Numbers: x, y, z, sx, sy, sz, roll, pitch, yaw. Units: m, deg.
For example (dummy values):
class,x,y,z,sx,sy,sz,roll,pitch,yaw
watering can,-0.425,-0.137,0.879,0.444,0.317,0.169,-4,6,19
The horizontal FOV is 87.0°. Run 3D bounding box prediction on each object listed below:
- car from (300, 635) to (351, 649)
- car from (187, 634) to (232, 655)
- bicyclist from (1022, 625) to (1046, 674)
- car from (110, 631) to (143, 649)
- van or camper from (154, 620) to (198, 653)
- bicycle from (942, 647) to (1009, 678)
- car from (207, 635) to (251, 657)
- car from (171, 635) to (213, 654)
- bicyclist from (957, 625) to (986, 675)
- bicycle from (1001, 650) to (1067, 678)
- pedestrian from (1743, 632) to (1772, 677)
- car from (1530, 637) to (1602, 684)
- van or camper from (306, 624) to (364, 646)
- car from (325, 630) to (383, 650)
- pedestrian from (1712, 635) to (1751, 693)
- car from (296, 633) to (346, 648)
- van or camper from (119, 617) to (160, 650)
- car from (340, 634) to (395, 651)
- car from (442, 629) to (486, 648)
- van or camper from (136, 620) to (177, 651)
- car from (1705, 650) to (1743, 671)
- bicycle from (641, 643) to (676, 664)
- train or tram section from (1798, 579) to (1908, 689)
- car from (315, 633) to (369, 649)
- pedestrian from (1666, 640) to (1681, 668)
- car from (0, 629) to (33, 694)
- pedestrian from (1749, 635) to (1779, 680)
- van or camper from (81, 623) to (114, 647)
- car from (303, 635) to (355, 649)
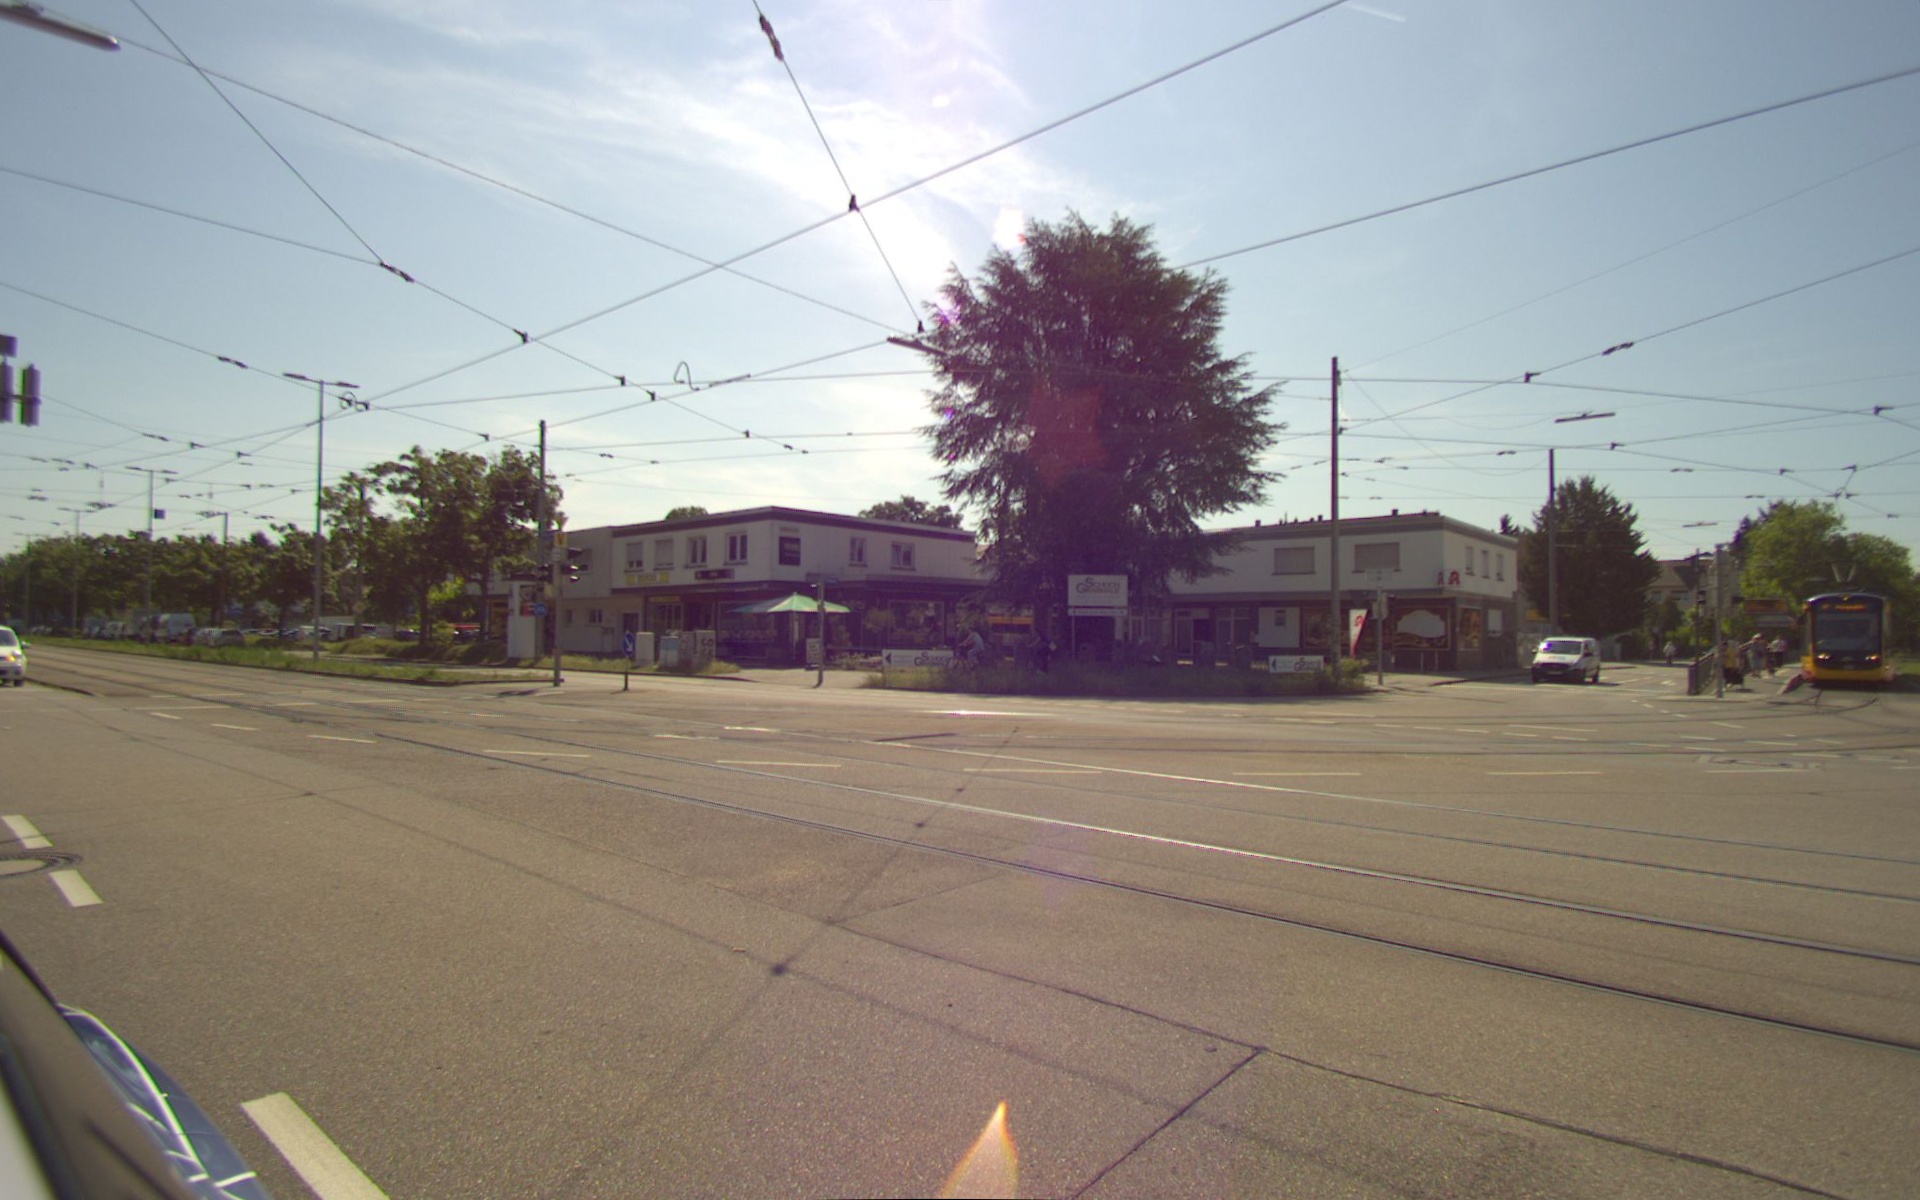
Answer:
class,x,y,z,sx,sy,sz,roll,pitch,yaw
car,-58.247,3.836,92.889,1.711,1.291,3.578,-2,-3,40
car,-57.773,3.440,77.878,4.283,1.572,1.868,-2,-3,42
bicyclist,2.451,1.626,33.369,0.755,1.587,0.631,0,-3,2
car,-83.073,4.015,100.899,4.230,1.748,1.868,-2,-3,42
van or camper,-65.807,3.072,84.898,4.838,2.652,2.013,-2,-3,42
bicycle,0.487,2.027,32.795,2.119,0.954,0.532,0,-3,19
car,-53.651,3.326,74.232,4.285,1.506,1.867,-2,-1,43
car,-62.009,3.605,81.701,4.230,1.506,1.868,-2,-3,42
bicyclist,0.381,1.625,32.906,0.760,1.570,0.627,0,-3,20
bicycle,2.442,2.092,33.305,2.111,0.897,0.574,0,-3,8
pedestrian,29.482,2.014,37.411,0.785,1.639,0.651,-2,-3,42
car,25.616,2.544,42.708,1.776,1.876,4.595,-2,-4,42
van or camper,-80.710,4.496,130.747,2.300,2.751,5.999,-2,-4,44
car,-50.897,3.383,85.061,1.949,1.581,3.701,-2,-3,40
pedestrian,25.460,2.098,33.411,0.896,1.852,1.185,-2,-4,42
car,-59.815,3.795,94.724,1.711,1.291,3.578,-2,-3,40
van or camper,-76.939,3.142,94.875,5.279,3.008,2.100,-2,-3,42
car,-48.900,3.539,83.589,1.711,1.372,3.578,-2,-3,40
car,-49.595,3.848,101.231,1.711,1.791,3.578,-2,-3,40
van or camper,-71.105,3.185,89.553,4.838,2.652,2.013,-2,-3,42
car,53.587,4.238,70.978,1.758,1.452,3.944,-2,-4,42
bicycle,-14.721,2.611,49.401,1.911,0.991,0.750,-2,-3,42
train or tram section,35.368,1.429,40.183,2.768,3.686,13.716,-2,-3,41
car,-52.786,3.496,86.423,1.711,1.294,3.578,-2,-3,40
pedestrian,50.585,3.845,71.784,0.767,1.980,0.851,-2,-3,40
car,-24.987,1.515,25.668,4.066,1.573,1.747,-2,-5,42
pedestrian,31.227,2.218,39.299,0.813,1.693,1.078,-2,-4,42
van or camper,-97.363,3.961,114.235,5.451,2.639,2.086,-1,-4,42
car,-56.511,3.760,90.647,1.811,1.291,3.578,-2,-3,40
